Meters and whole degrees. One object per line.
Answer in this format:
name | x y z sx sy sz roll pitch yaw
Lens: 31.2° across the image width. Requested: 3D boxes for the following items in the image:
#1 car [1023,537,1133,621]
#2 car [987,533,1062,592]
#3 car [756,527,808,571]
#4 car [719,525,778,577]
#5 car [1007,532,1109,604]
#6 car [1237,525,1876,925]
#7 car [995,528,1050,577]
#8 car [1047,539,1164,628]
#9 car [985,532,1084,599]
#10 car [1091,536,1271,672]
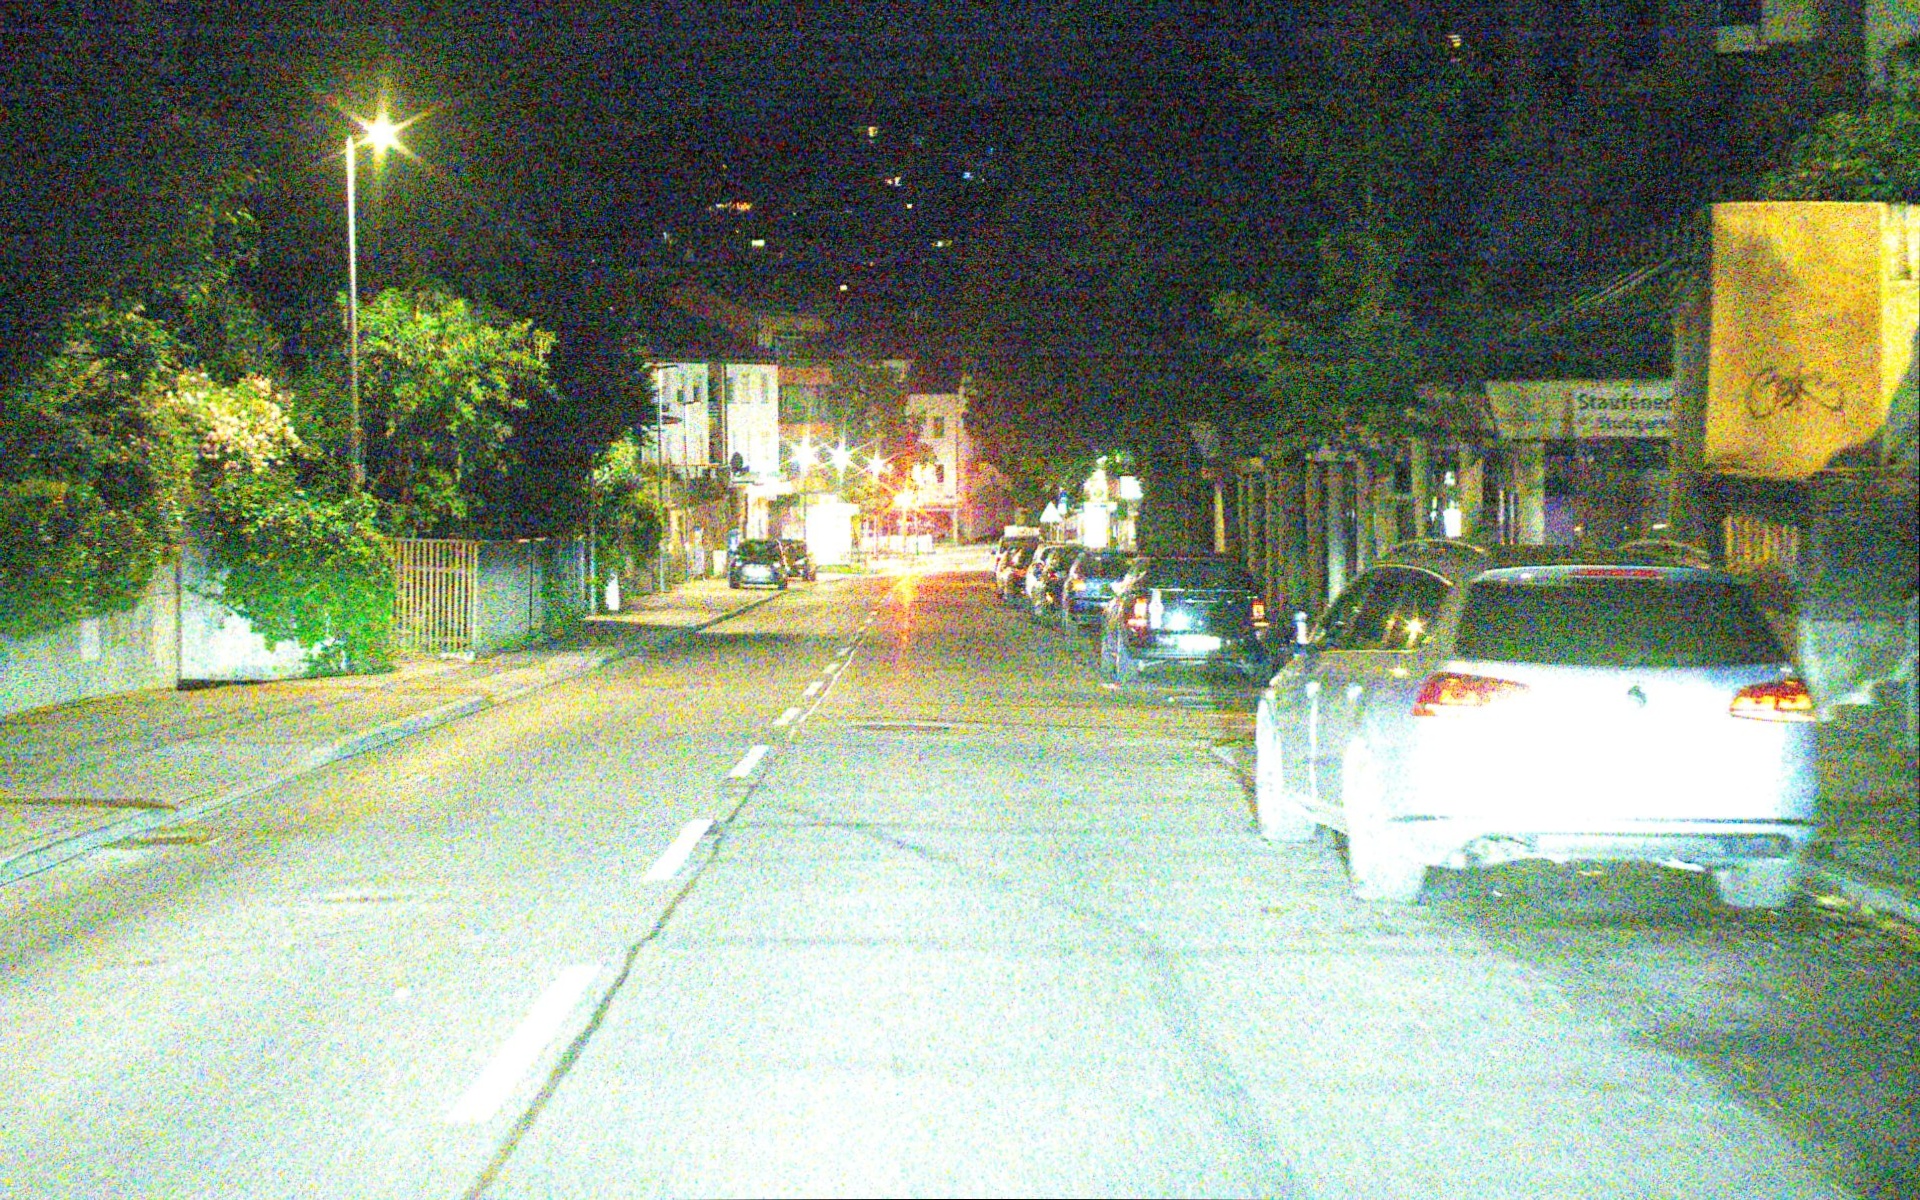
car | 2.122 -0.411 62.812 1.682 1.443 4.001 1 1 -3
car | 1.656 -0.988 89.236 1.682 1.443 4.001 1 1 -2
car | -6.296 -1.834 121.950 1.753 1.534 3.731 0 1 -2
car | -6.465 -1.511 104.828 1.753 1.534 3.731 0 1 -4
car | 2.065 -0.701 73.416 1.682 1.443 4.001 1 1 -6
car | 2.449 0.434 15.229 1.763 1.470 4.277 2 1 -4
car | 1.979 -1.526 109.641 1.682 1.534 4.000 0 1 0
car | 2.488 -0.307 57.965 1.868 1.398 4.000 1 1 4
car | 1.660 -0.795 78.059 1.682 1.443 4.001 1 1 -7
car | 2.420 0.007 38.397 1.629 1.434 3.865 0 1 -2
